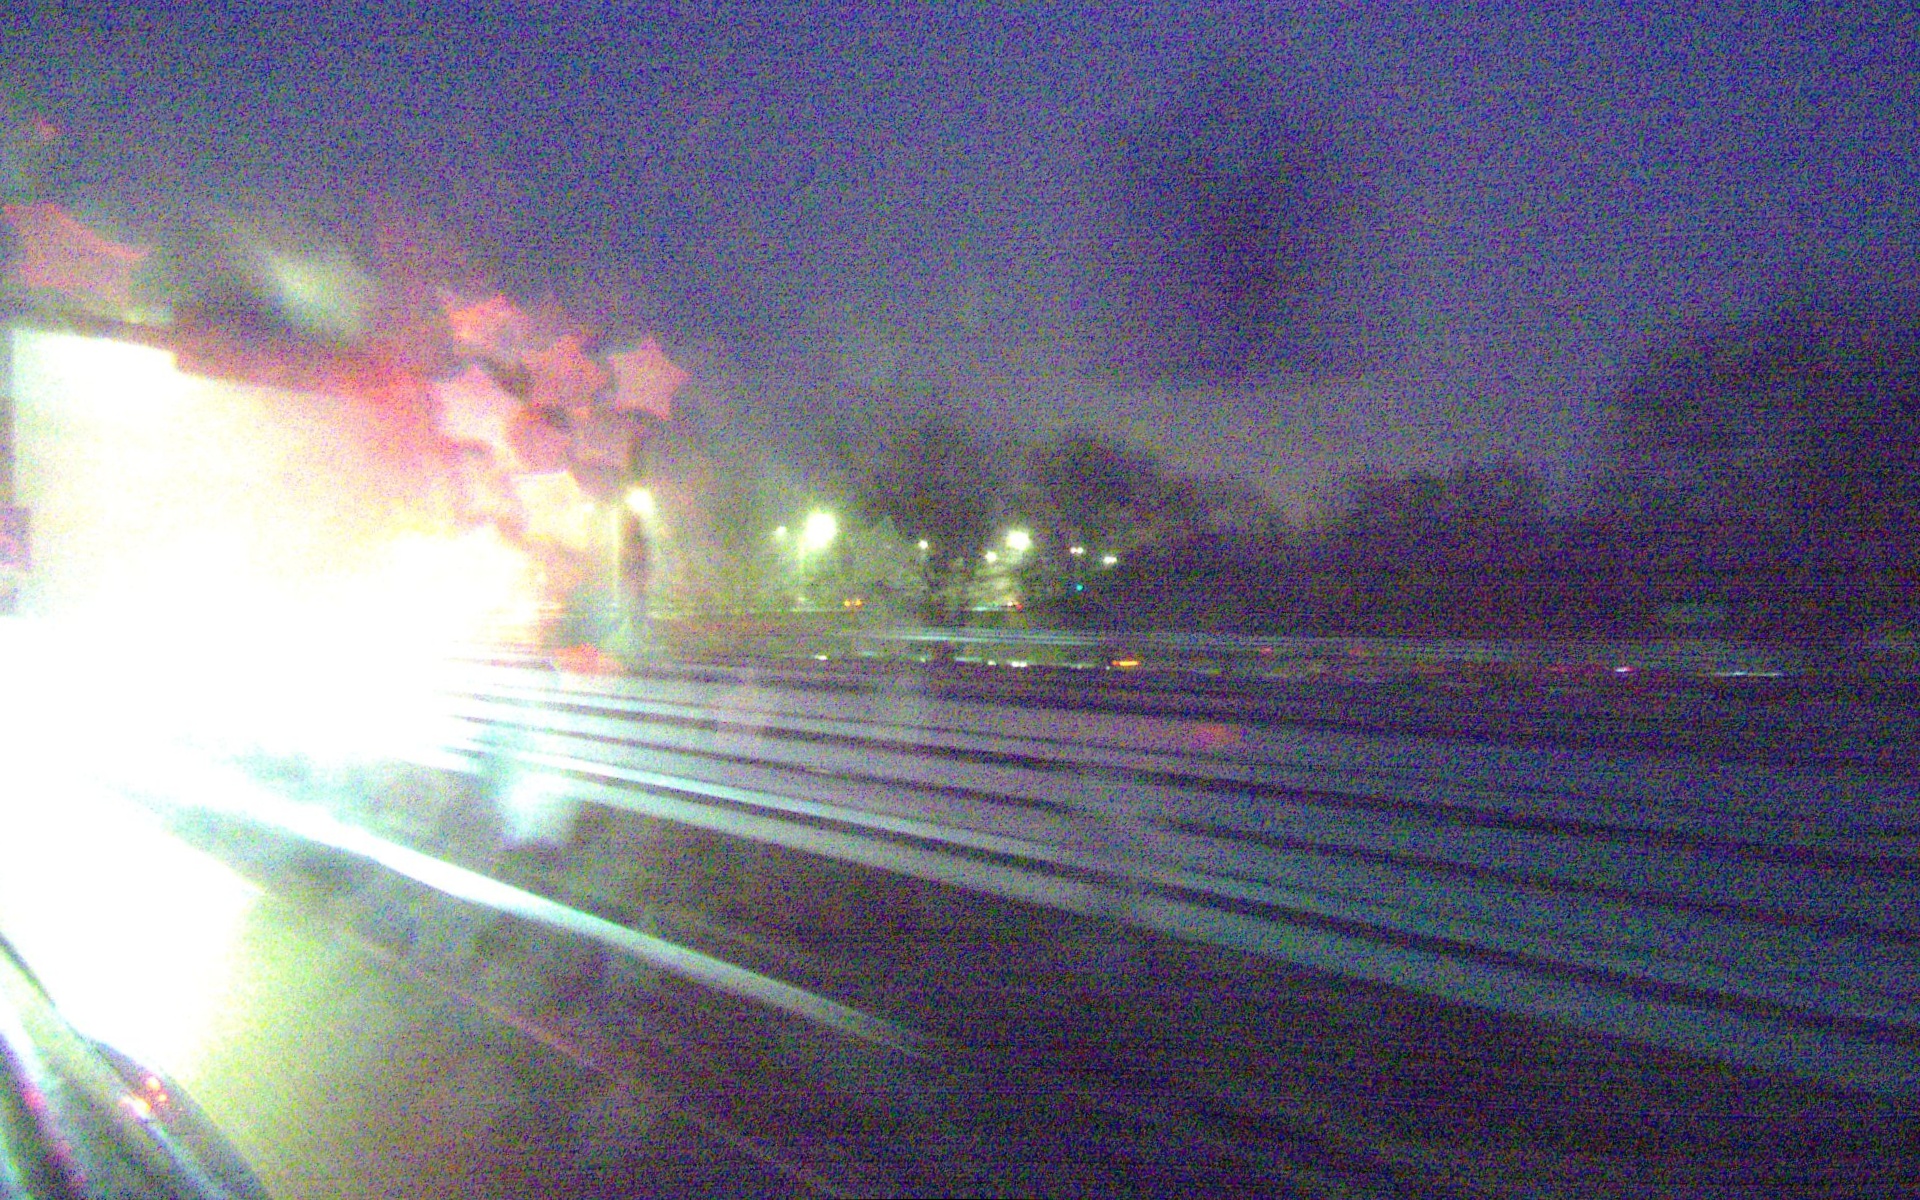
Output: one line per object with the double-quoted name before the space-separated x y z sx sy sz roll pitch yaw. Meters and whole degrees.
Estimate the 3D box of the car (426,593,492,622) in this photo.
"car" -37.206 0.552 75.254 1.988 1.807 3.968 -3 2 25

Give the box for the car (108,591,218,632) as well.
"car" -41.532 0.587 52.812 1.988 1.807 3.968 -3 2 25

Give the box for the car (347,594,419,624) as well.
"car" -41.281 0.609 72.457 1.988 1.807 3.968 -3 2 25

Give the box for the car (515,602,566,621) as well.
"car" -36.141 0.990 87.271 1.707 1.452 3.971 -3 0 22
